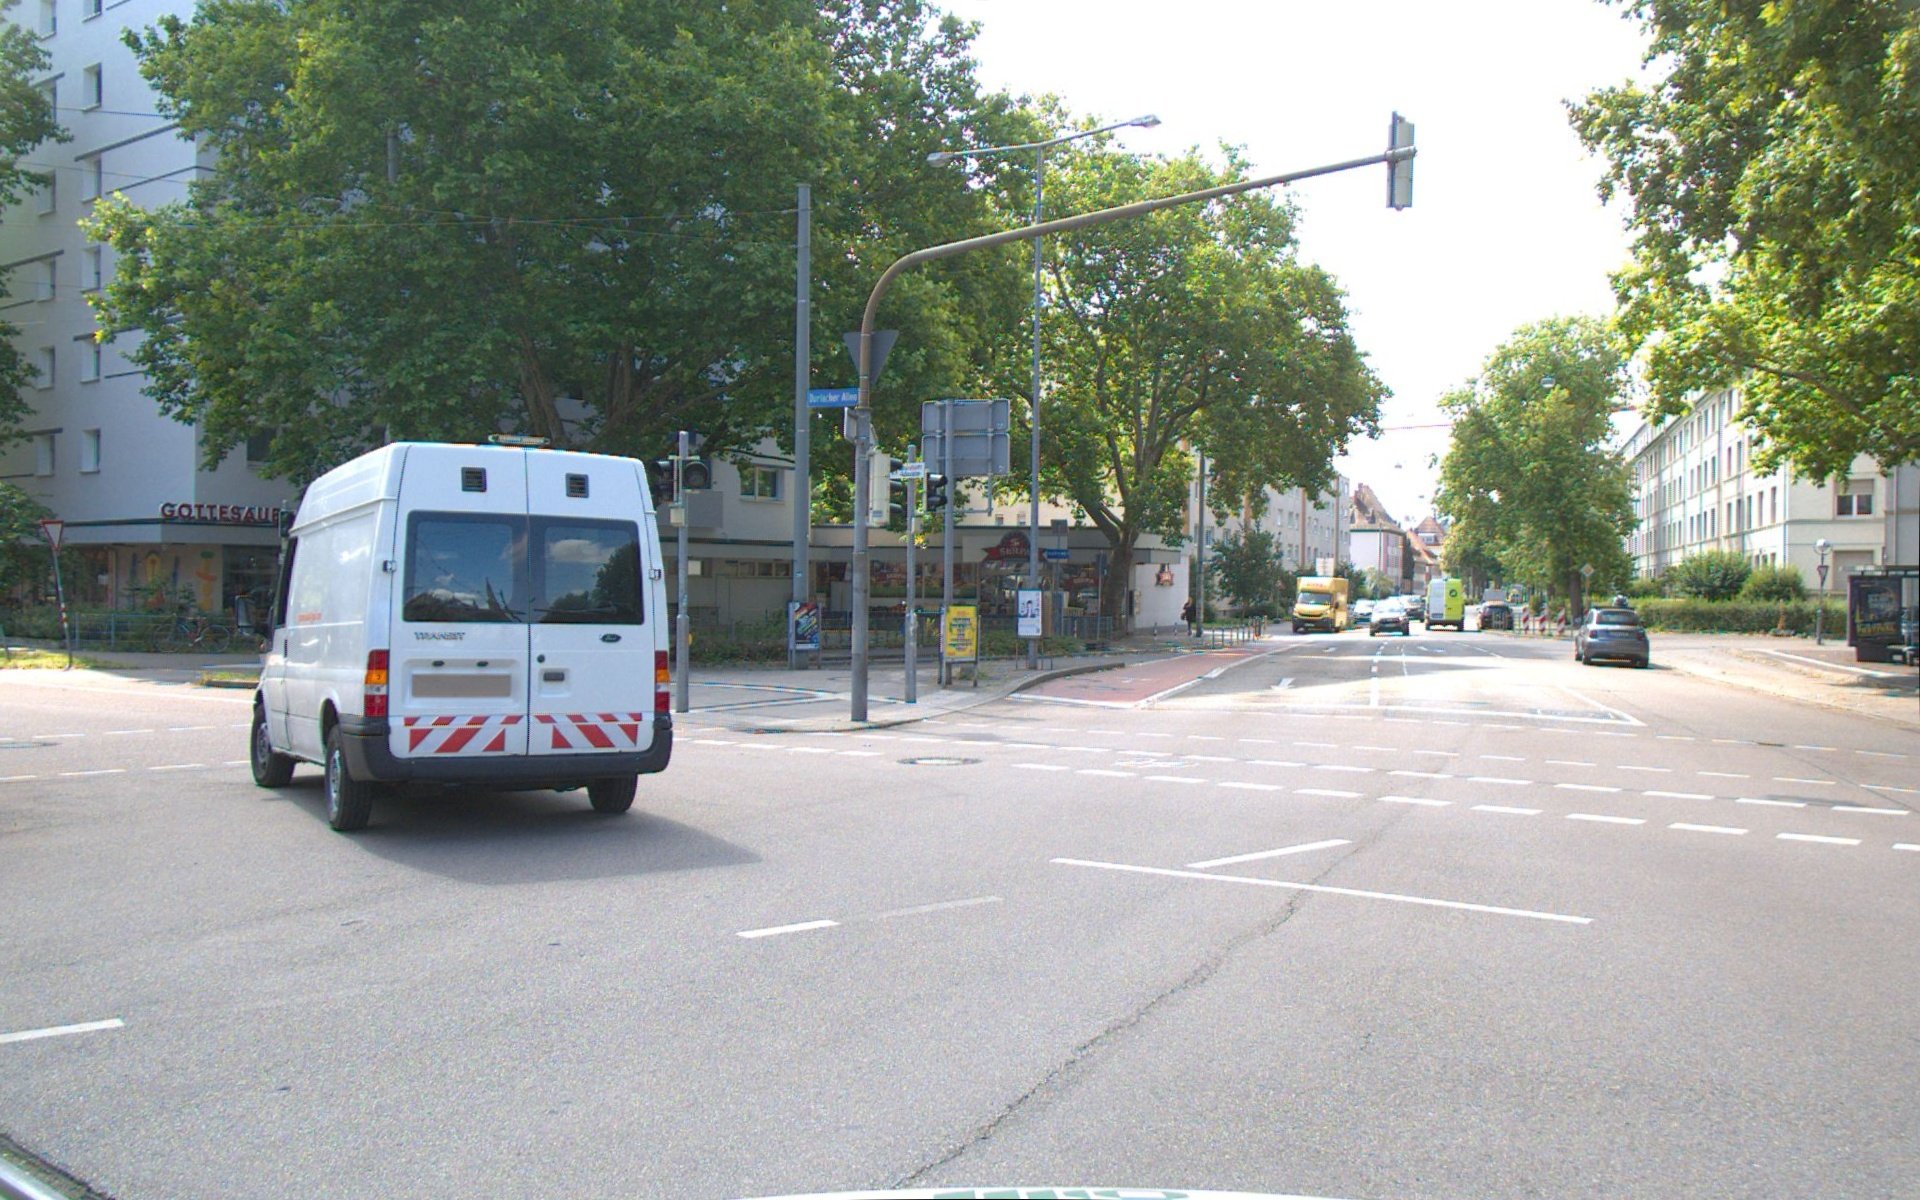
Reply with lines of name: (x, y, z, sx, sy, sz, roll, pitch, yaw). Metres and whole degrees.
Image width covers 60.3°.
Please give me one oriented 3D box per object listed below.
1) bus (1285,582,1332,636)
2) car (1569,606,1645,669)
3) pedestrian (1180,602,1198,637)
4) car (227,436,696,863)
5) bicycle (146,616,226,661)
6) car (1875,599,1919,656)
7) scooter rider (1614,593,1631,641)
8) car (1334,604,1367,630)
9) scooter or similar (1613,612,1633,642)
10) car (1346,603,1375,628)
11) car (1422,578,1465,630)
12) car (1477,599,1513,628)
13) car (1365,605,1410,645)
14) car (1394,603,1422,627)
bus: (18.583, 0.472, 88.016, 2.343, 2.756, 6.375, -1, 0, 13)
car: (17.655, 0.989, 45.239, 1.656, 1.564, 3.470, -1, 1, 17)
pedestrian: (10.094, 0.853, 72.983, 0.655, 1.505, 0.575, 0, 0, 23)
car: (-3.734, 0.255, 11.715, 2.028, 2.374, 4.662, -1, 0, -32)
bicycle: (-18.178, 0.893, 38.885, 1.701, 1.027, 0.530, 0, 0, -25)
car: (28.734, 0.775, 49.294, 1.994, 1.628, 4.521, -1, 0, 36)
scooter rider: (25.584, 0.653, 63.902, 0.515, 1.843, 0.649, -1, 0, 14)
car: (24.654, 1.062, 104.227, 1.806, 1.590, 4.002, -1, 0, 16)
scooter or similar: (25.577, 1.027, 63.836, 0.537, 1.110, 1.293, -1, 0, 14)
car: (28.445, 1.109, 117.397, 1.692, 1.690, 3.751, -1, 0, 18)
car: (25.924, 0.162, 88.811, 2.074, 2.687, 6.333, -1, 0, 15)
car: (29.333, 0.733, 90.693, 1.688, 1.582, 3.636, -1, 0, 15)
car: (19.665, 1.128, 76.025, 1.749, 1.690, 4.318, -1, 0, 18)
car: (32.495, 1.072, 119.933, 1.823, 1.690, 3.751, -1, 0, 18)
